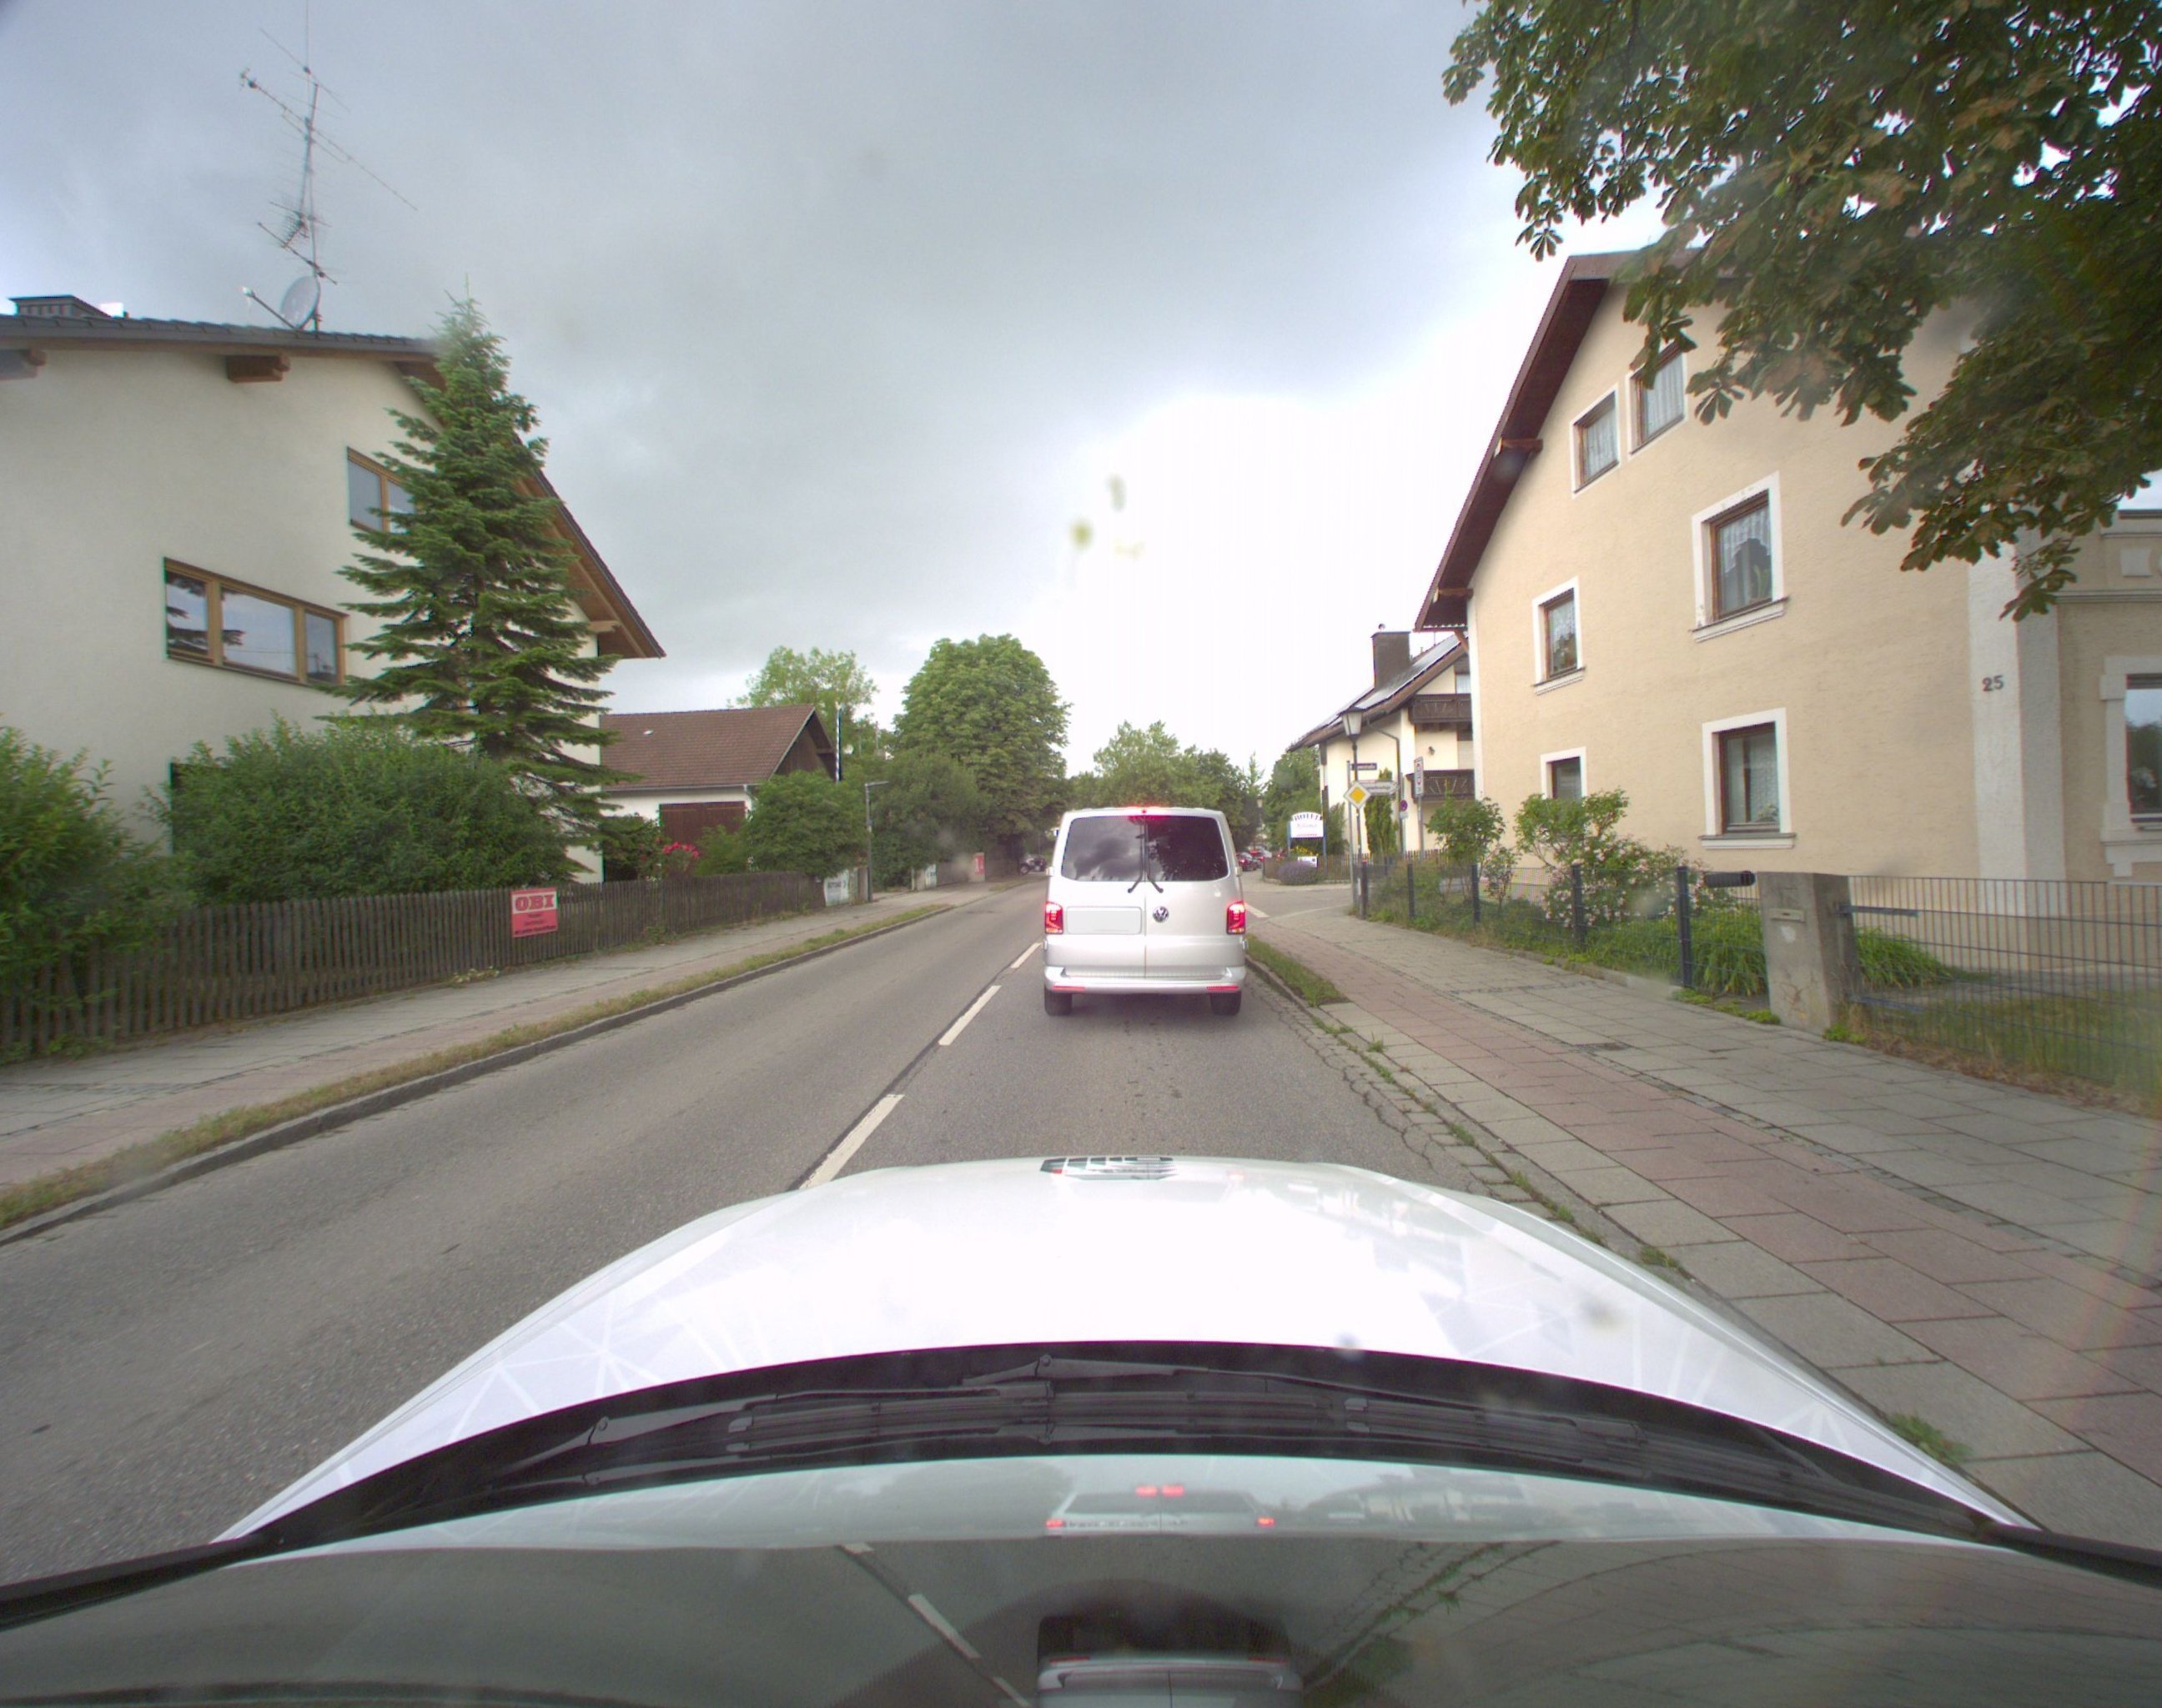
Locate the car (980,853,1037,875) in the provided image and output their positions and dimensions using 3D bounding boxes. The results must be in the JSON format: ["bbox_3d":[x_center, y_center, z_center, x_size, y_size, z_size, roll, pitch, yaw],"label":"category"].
[{"bbox_3d":[-5.197,0.720,58.646,3.982,1.486,1.996,-1,0,-7],"label":"car"}]

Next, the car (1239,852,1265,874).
[{"bbox_3d":[15.115,0.734,71.903,1.867,1.825,3.937,-2,0,16],"label":"car"}]

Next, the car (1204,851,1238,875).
[{"bbox_3d":[9.779,0.587,56.726,1.867,1.535,3.937,-2,0,16],"label":"car"}]

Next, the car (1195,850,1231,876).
[{"bbox_3d":[8.444,0.568,51.790,1.868,1.535,3.935,-2,0,14],"label":"car"}]

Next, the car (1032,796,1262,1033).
[{"bbox_3d":[0.638,0.512,8.795,1.874,1.940,3.923,-2,0,2],"label":"car"}]

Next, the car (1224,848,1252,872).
[{"bbox_3d":[12.569,0.452,65.066,1.868,1.748,4.096,-2,0,14],"label":"car"}]
